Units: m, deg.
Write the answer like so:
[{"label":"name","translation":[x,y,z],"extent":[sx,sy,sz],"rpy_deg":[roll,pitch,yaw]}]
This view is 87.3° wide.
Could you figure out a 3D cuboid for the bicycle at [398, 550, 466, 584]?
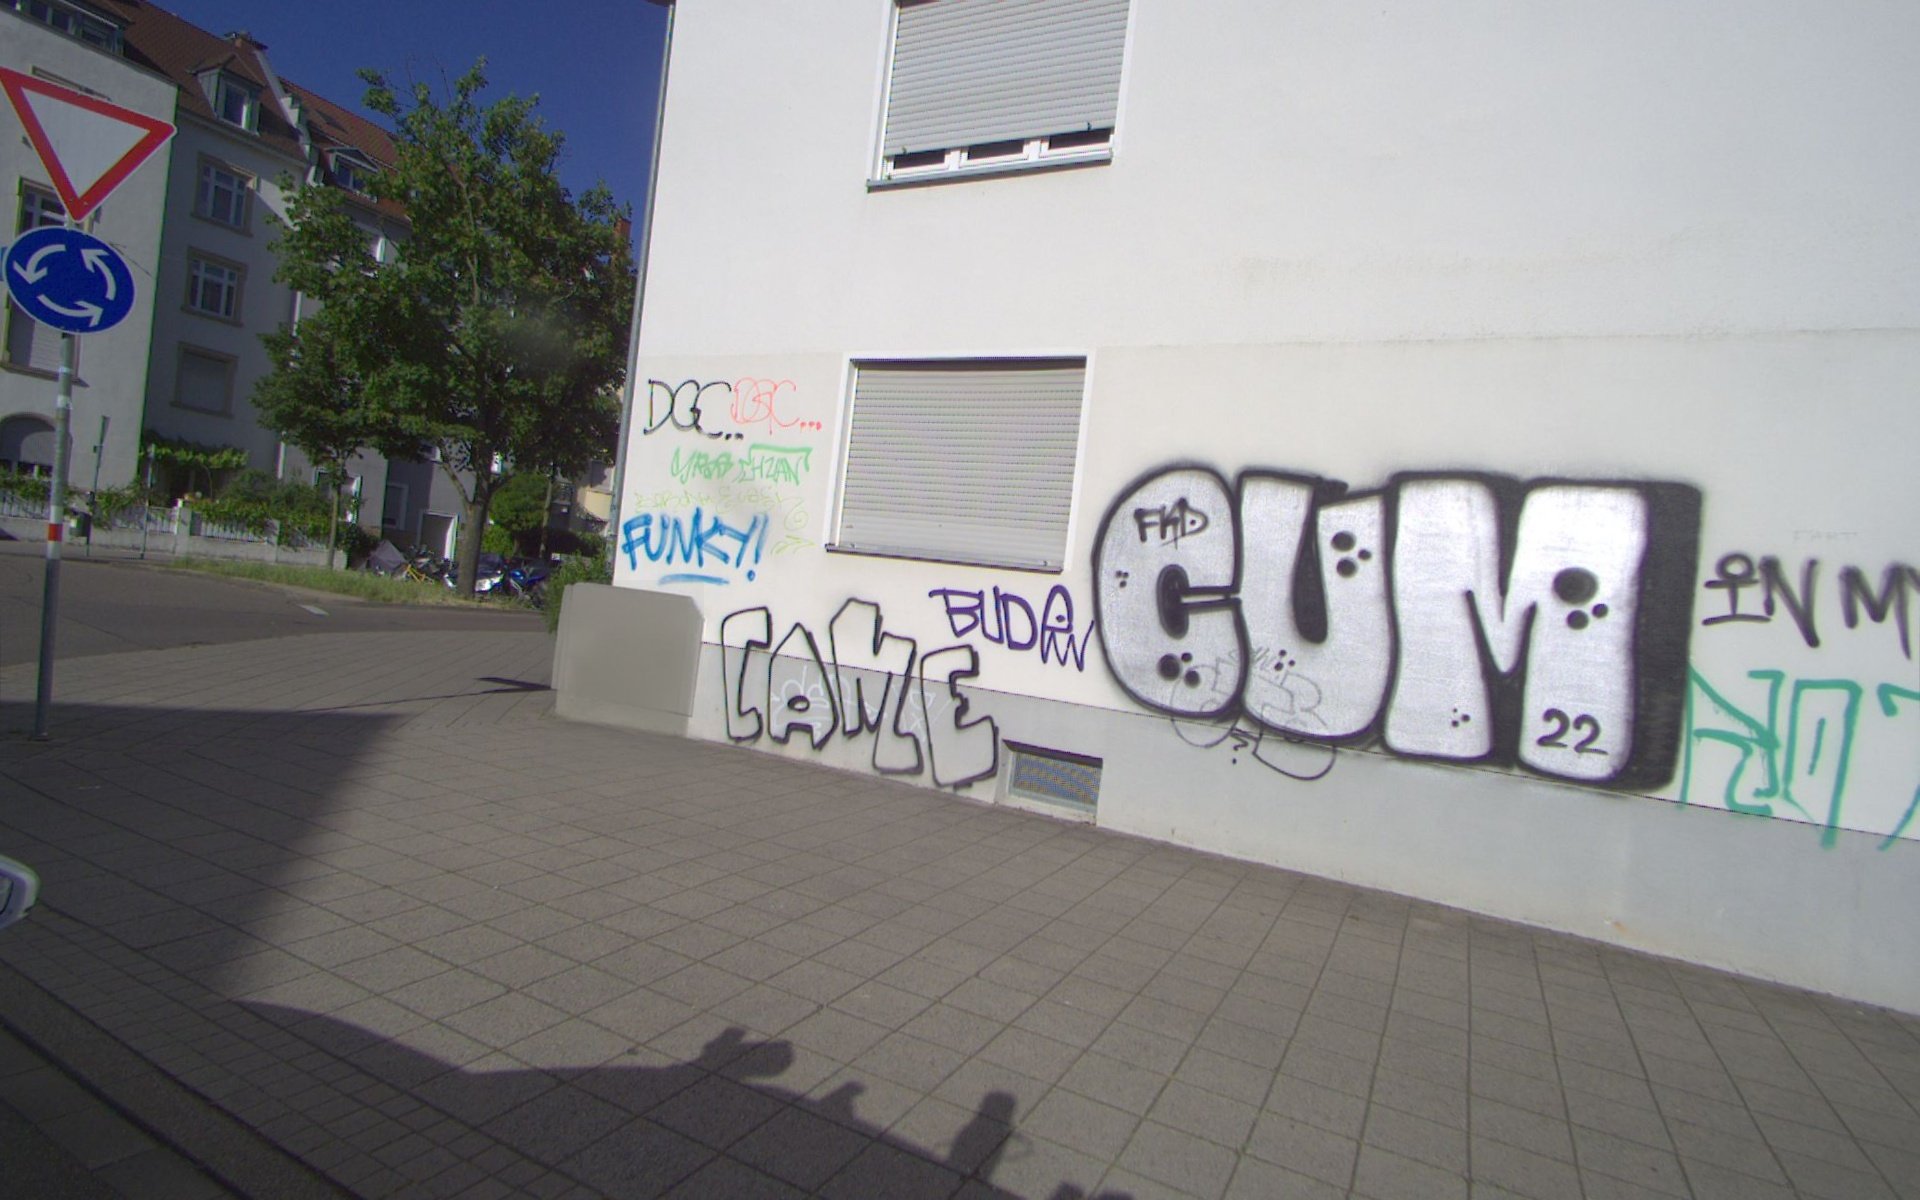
[{"label":"bicycle","translation":[-20.769,-1.296,39.617],"extent":[0.671,1.072,2.252],"rpy_deg":[7,0,31]}]

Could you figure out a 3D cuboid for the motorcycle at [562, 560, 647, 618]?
[{"label":"motorcycle","translation":[-10.310,-0.327,29.190],"extent":[2.090,1.410,1.061],"rpy_deg":[7,0,27]}]

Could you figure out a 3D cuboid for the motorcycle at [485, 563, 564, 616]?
[{"label":"motorcycle","translation":[-11.113,-0.274,25.673],"extent":[1.813,1.086,0.813],"rpy_deg":[8,1,29]}]

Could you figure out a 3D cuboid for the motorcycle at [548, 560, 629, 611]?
[{"label":"motorcycle","translation":[-11.471,-0.451,31.052],"extent":[2.203,1.283,1.050],"rpy_deg":[7,0,29]}]

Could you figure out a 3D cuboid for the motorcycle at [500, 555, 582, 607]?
[{"label":"motorcycle","translation":[-12.651,-0.586,30.351],"extent":[2.203,1.283,1.050],"rpy_deg":[7,0,29]}]

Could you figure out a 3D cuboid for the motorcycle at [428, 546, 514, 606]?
[{"label":"motorcycle","translation":[-12.955,-0.641,26.635],"extent":[2.017,1.344,0.862],"rpy_deg":[7,0,25]}]

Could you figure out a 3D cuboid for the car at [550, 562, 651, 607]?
[{"label":"car","translation":[-15.301,-0.635,42.975],"extent":[1.722,1.463,3.850],"rpy_deg":[7,0,26]}]

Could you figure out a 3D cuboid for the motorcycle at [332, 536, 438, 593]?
[{"label":"motorcycle","translation":[-16.384,-1.023,28.676],"extent":[2.733,1.283,1.126],"rpy_deg":[7,0,23]}]

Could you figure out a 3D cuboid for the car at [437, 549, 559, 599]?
[{"label":"car","translation":[-17.574,-0.955,38.469],"extent":[1.722,1.462,3.952],"rpy_deg":[5,-1,26]}]

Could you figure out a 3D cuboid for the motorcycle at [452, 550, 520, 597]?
[{"label":"motorcycle","translation":[-14.889,-0.829,31.590],"extent":[1.862,1.252,0.888],"rpy_deg":[7,0,29]}]

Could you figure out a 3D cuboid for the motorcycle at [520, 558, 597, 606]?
[{"label":"motorcycle","translation":[-13.155,-0.597,32.953],"extent":[2.203,1.283,1.050],"rpy_deg":[7,0,29]}]
